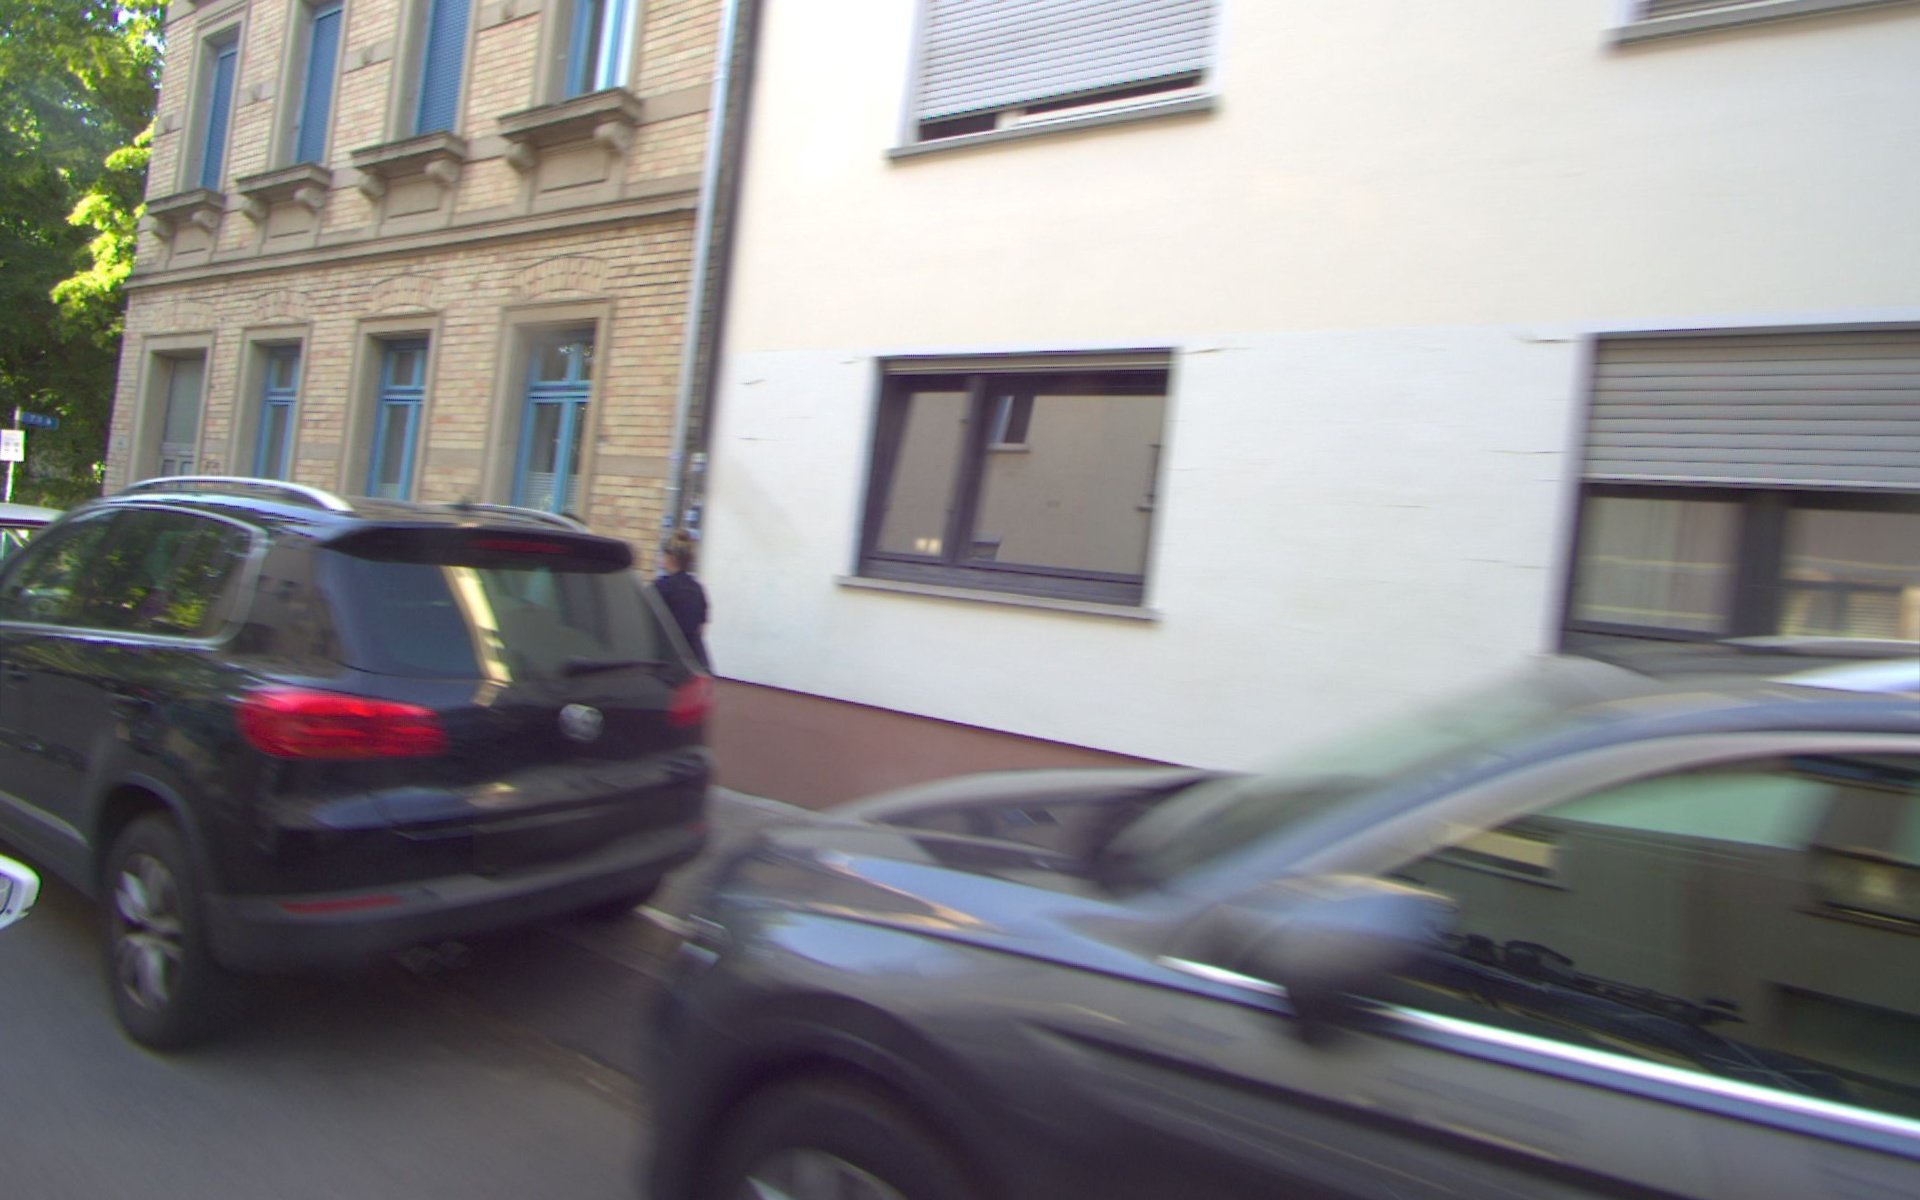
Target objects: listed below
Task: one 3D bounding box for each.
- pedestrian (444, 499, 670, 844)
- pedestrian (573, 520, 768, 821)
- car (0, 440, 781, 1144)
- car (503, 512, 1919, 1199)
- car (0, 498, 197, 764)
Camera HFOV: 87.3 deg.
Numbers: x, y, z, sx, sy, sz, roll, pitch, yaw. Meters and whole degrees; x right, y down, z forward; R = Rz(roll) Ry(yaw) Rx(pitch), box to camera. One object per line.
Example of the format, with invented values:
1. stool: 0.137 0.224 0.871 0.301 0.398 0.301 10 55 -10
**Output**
1. pedestrian: -2.172 0.363 5.450 0.705 1.680 0.686 7 0 31
2. pedestrian: -1.771 0.414 6.188 0.705 1.680 0.686 7 0 31
3. car: -2.888 0.350 4.212 4.028 1.702 1.677 6 0 33
4. car: 1.271 0.854 1.796 4.179 1.649 1.676 6 3 31
5. car: -6.961 0.032 6.813 3.558 1.502 1.568 7 1 31
